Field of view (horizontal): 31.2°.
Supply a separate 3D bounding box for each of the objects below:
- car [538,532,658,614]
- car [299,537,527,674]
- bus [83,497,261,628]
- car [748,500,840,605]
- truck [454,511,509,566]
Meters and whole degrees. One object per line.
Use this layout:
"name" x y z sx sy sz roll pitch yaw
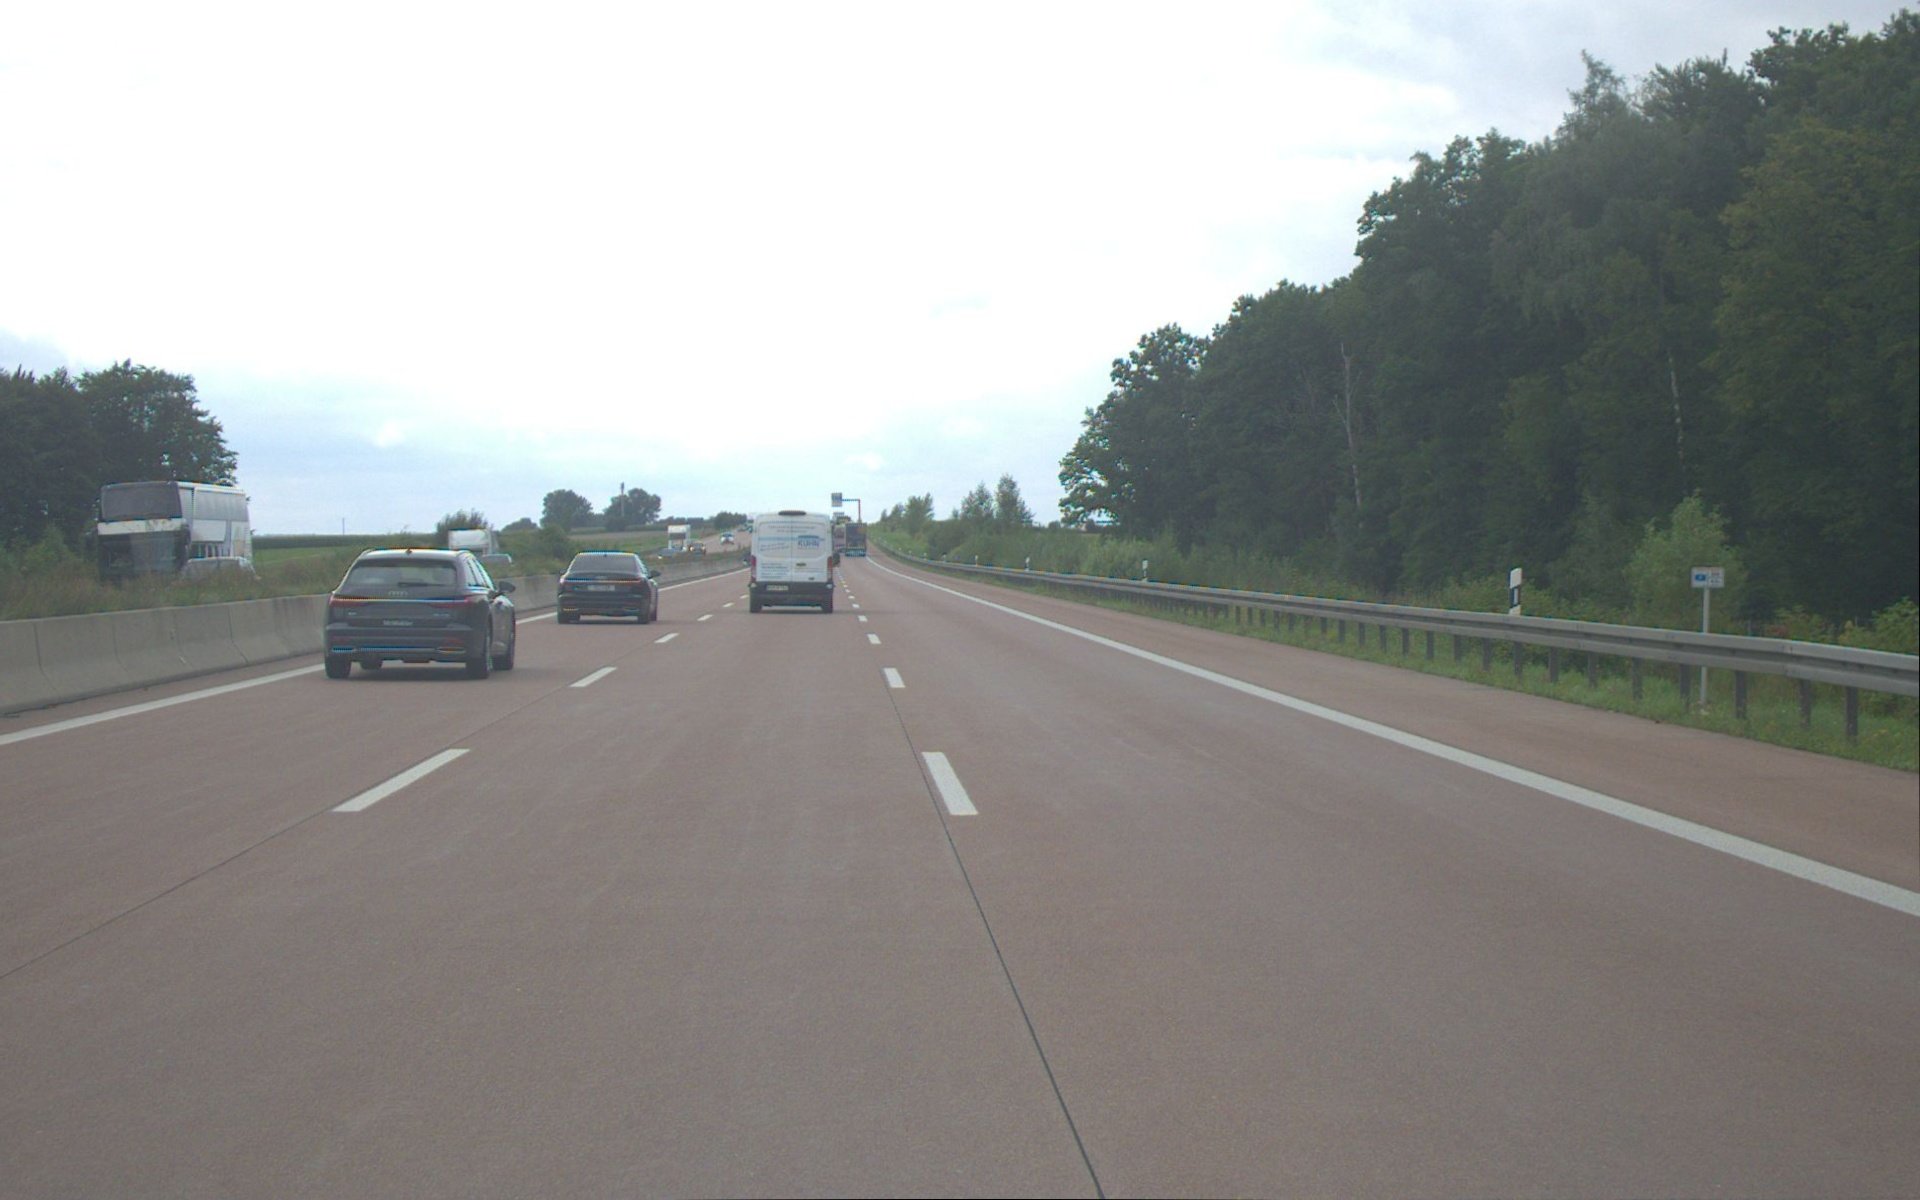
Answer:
"car" -7.395 -0.590 70.769 2.085 1.545 5.675 1 1 -2
"car" -6.418 0.011 40.935 2.059 1.486 5.454 0 1 -2
"bus" -24.863 -1.242 109.322 3.048 3.875 14.364 1 1 -3
"car" -4.059 -1.223 85.049 2.137 2.498 7.132 0 1 -2
"truck" -28.107 -3.599 202.324 2.356 3.089 7.482 2 1 -2
